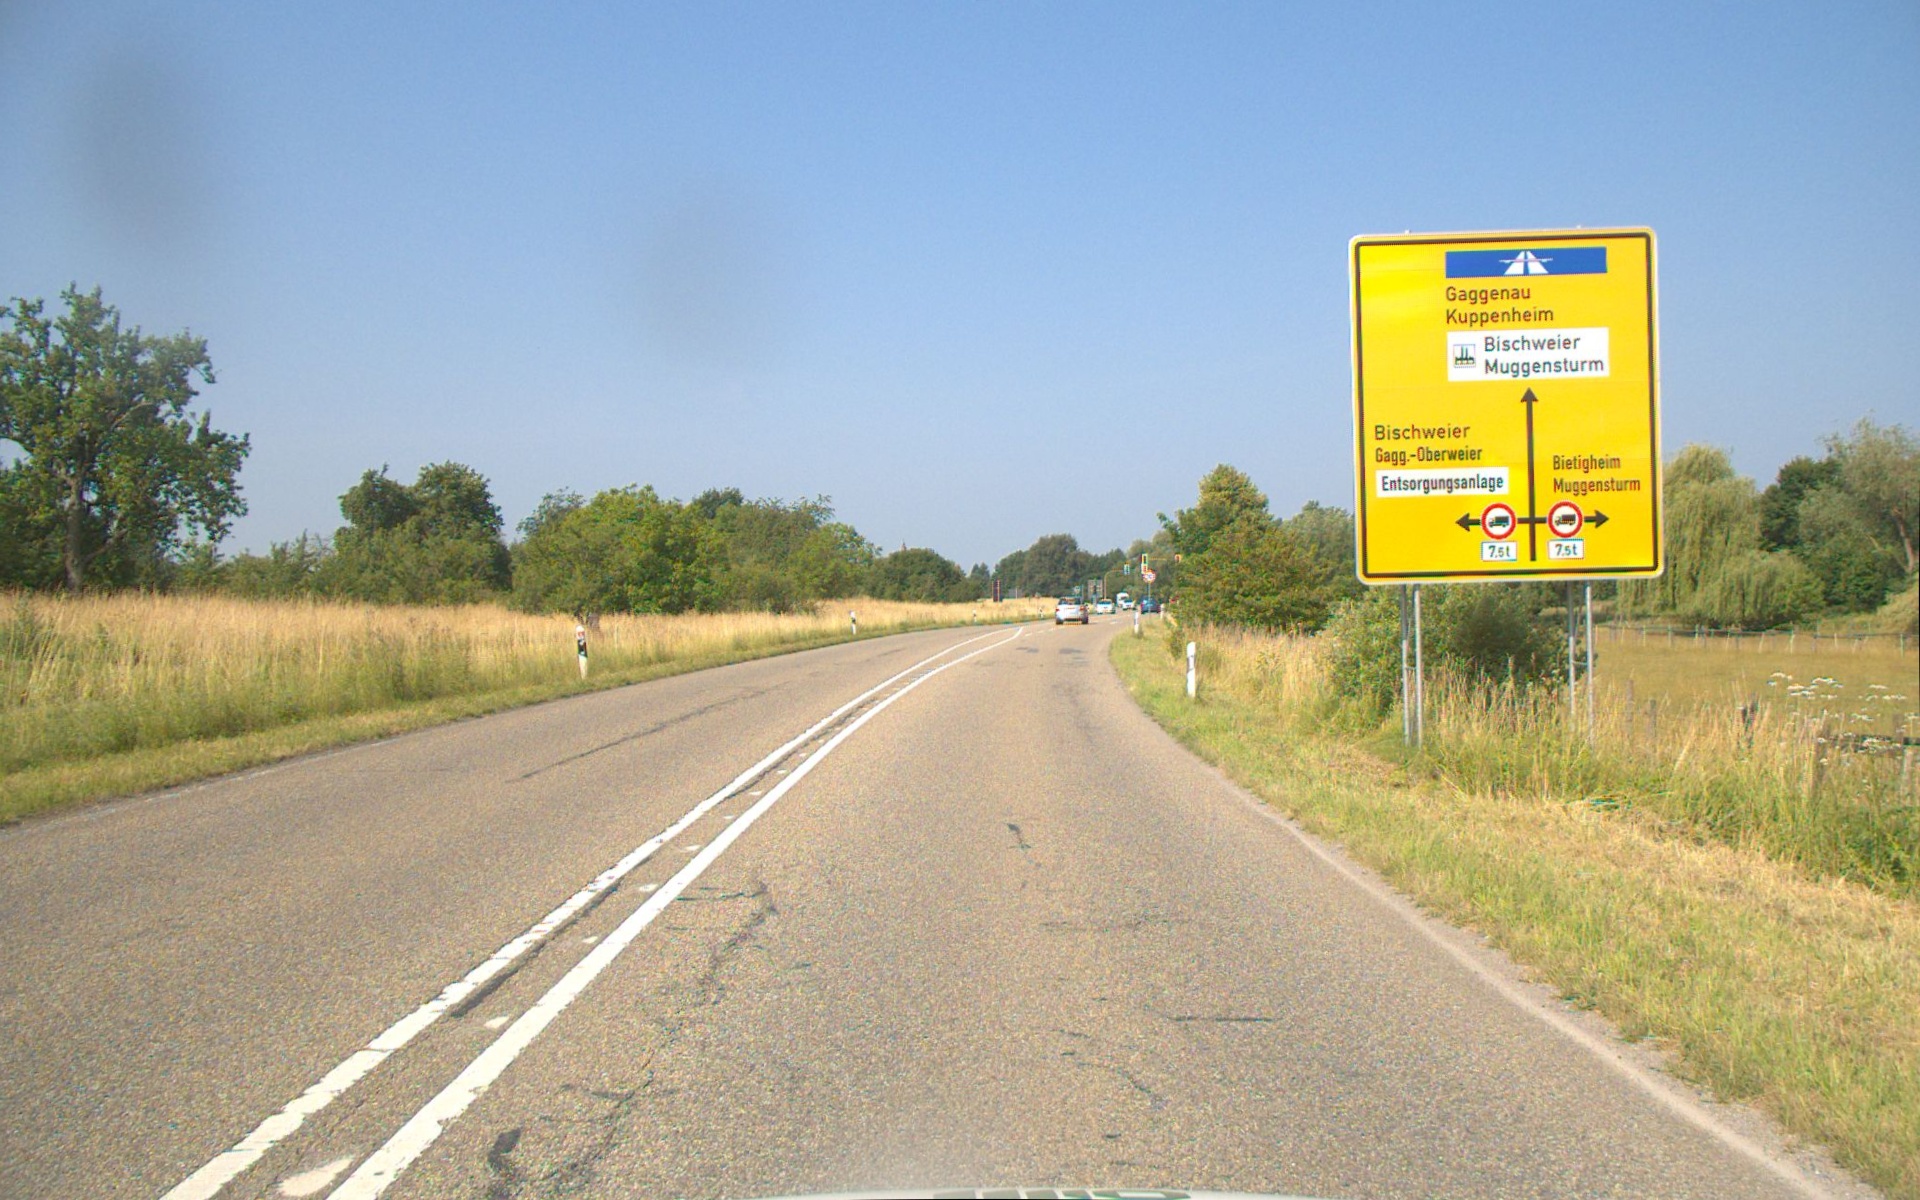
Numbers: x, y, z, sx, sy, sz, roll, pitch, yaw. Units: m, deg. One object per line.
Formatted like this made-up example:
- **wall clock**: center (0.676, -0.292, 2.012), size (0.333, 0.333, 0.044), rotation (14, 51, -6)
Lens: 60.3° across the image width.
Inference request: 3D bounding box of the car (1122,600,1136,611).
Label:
- **car**: center (25.585, 0.807, 250.719), size (1.796, 1.724, 3.862), rotation (0, 0, 10)

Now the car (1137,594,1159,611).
- **car**: center (17.692, 0.187, 155.507), size (1.777, 1.547, 4.003), rotation (-1, 0, 9)

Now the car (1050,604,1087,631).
- **car**: center (6.505, 1.012, 98.802), size (1.858, 1.538, 4.003), rotation (1, 0, 9)

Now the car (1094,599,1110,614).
- **car**: center (15.844, 0.777, 184.173), size (1.774, 1.613, 4.227), rotation (-1, 0, 5)
